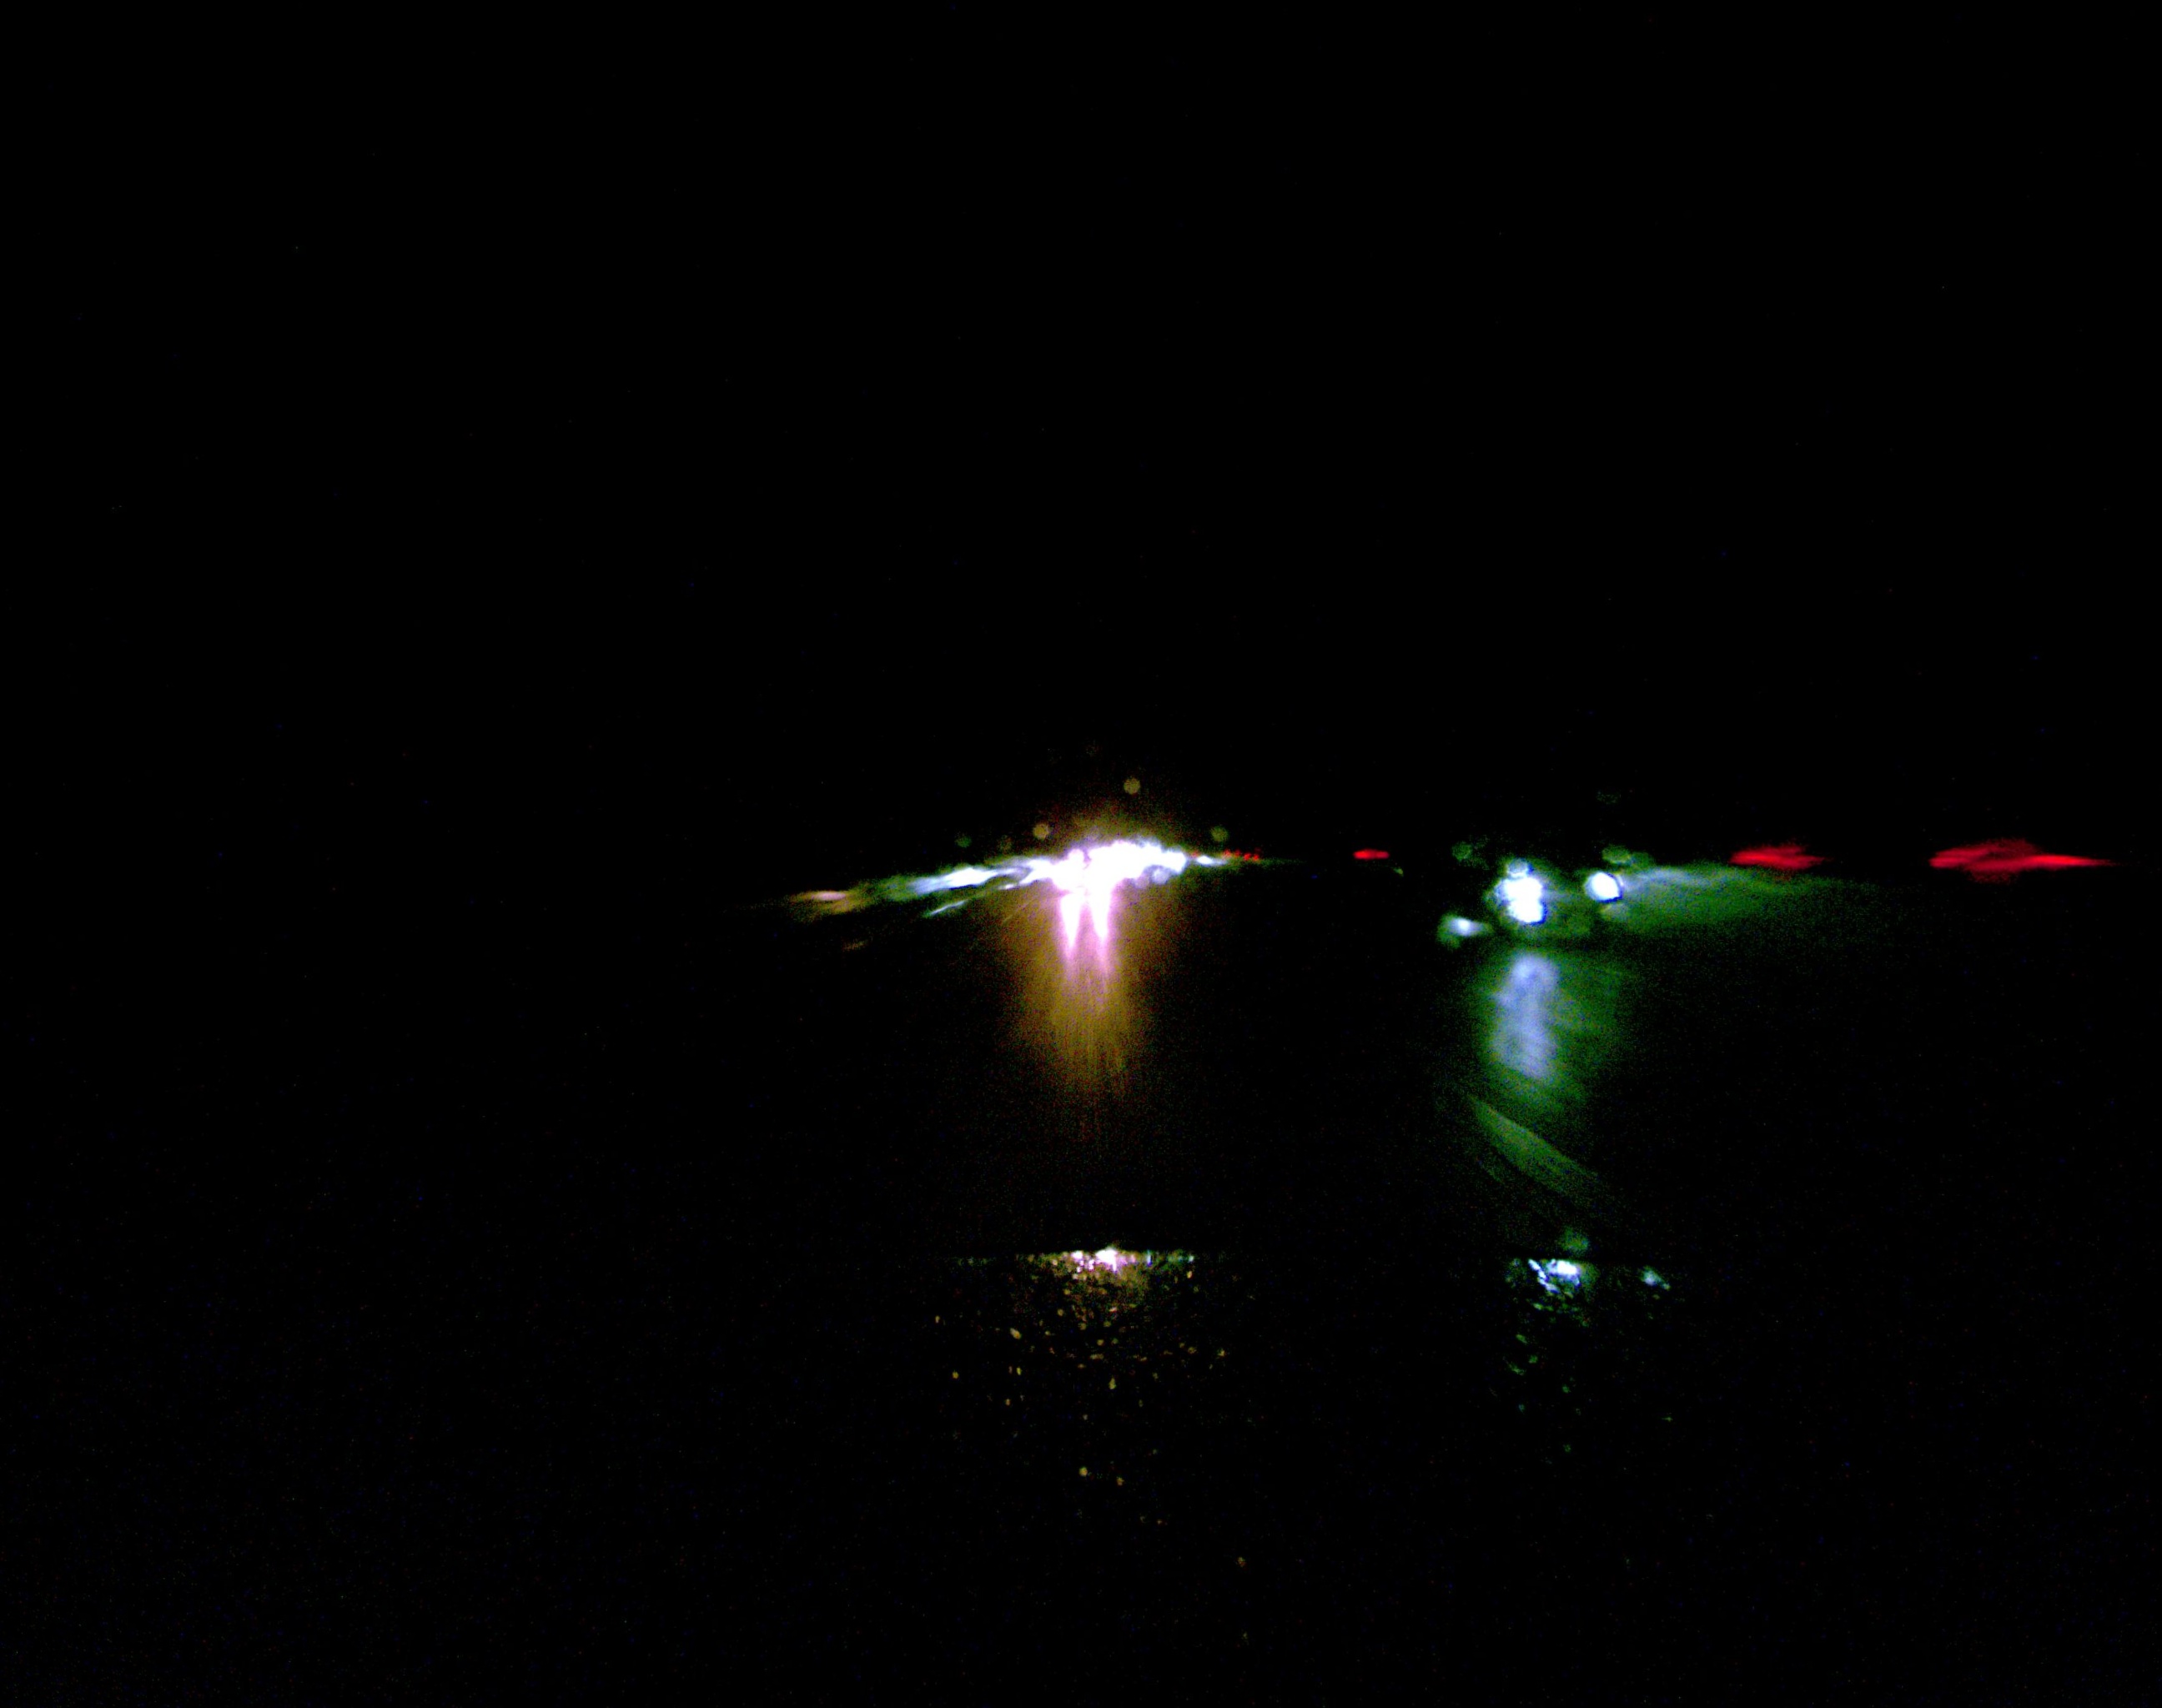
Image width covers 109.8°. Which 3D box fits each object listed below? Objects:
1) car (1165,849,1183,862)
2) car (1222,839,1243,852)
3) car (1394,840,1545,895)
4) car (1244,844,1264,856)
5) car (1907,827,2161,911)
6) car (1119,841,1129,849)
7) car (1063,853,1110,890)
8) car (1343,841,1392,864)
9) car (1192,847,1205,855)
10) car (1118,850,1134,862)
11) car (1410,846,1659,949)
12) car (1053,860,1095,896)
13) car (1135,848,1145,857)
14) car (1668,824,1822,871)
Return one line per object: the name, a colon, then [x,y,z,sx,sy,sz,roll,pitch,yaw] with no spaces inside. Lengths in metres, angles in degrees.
car: [12.859,0.207,105.720,1.998,1.551,4.587,-2,1,1]
car: [21.529,-1.212,108.322,1.885,1.832,5.059,-2,1,-1]
car: [12.058,0.355,24.085,1.999,1.468,5.163,-2,1,-2]
car: [26.505,-0.623,116.282,1.885,1.712,4.562,-2,1,-1]
car: [21.283,0.241,16.463,1.885,1.548,4.459,-2,1,-1]
car: [9.414,-1.923,165.799,1.998,1.551,4.587,-2,1,1]
car: [0.277,0.828,35.609,1.998,1.542,4.001,-2,-1,1]
car: [21.289,-0.148,56.637,1.885,1.548,4.459,-2,1,-1]
car: [25.953,-0.677,168.171,1.885,1.712,4.561,-2,1,-2]
car: [6.091,0.254,103.677,1.998,1.551,4.587,-2,1,1]
car: [7.618,0.626,13.315,1.998,1.433,3.999,-2,1,1]
car: [-0.244,0.914,30.234,1.525,1.256,3.368,-2,1,1]
car: [13.839,-0.386,177.590,1.998,1.797,4.000,-2,1,2]
car: [24.883,-0.249,28.722,1.885,1.548,4.459,-2,1,-1]
